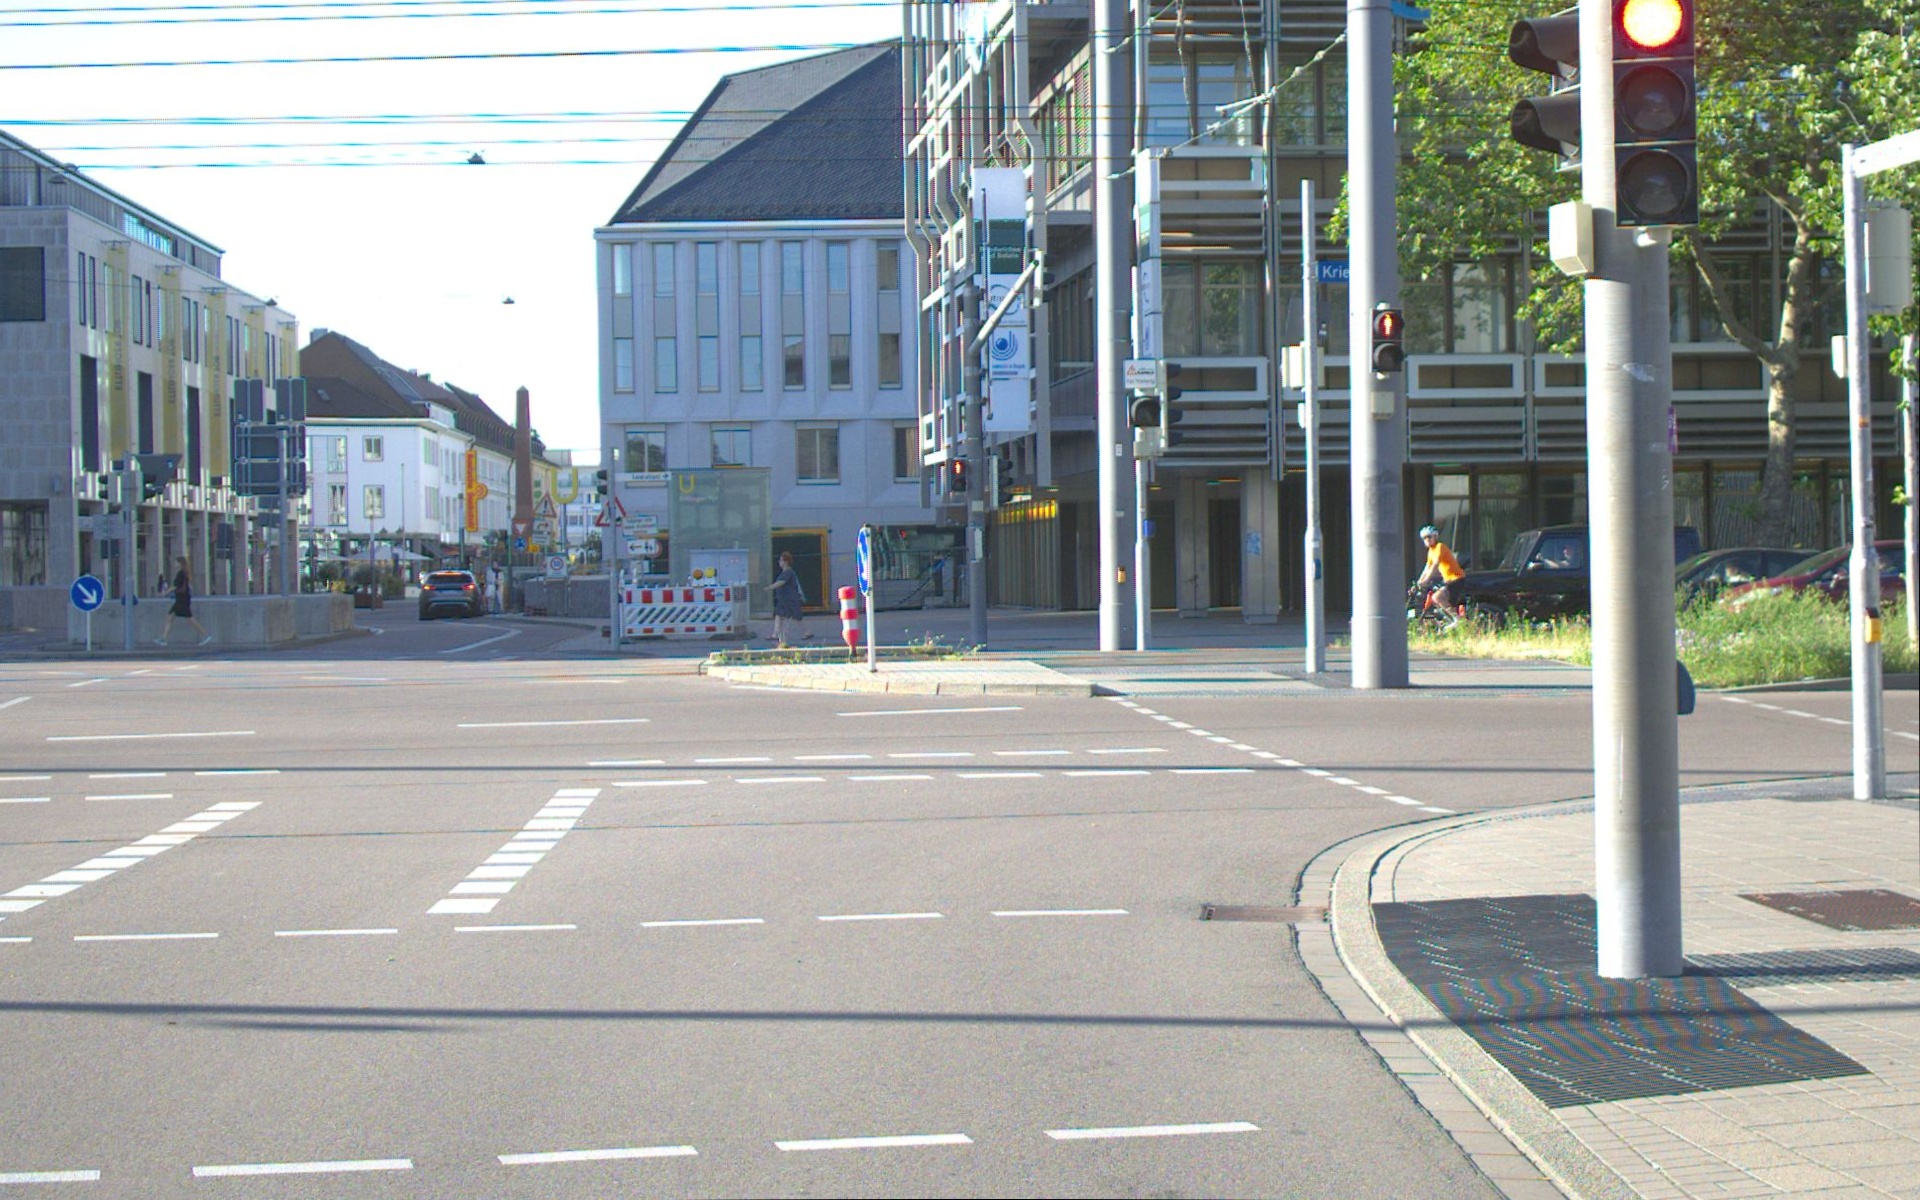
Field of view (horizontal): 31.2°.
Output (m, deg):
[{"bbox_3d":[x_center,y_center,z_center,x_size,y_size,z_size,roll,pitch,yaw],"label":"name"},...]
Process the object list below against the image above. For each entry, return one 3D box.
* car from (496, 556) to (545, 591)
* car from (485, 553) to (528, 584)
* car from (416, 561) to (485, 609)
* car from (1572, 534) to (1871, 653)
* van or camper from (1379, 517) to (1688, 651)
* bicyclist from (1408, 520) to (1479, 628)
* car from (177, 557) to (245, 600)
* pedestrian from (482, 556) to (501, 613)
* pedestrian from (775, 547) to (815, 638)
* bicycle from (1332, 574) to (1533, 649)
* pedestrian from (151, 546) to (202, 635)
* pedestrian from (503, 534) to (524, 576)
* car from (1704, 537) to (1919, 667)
[{"bbox_3d":[-18.646,-1.128,145.849,1.658,1.453,3.542,-1,1,-1],"label":"car"},{"bbox_3d":[-21.908,-1.514,166.111,1.658,1.453,3.542,-1,1,-1],"label":"car"},{"bbox_3d":[-16.011,-0.482,108.085,1.658,1.453,3.542,-1,1,-1],"label":"car"},{"bbox_3d":[11.196,-0.113,50.701,3.986,1.678,1.761,-1,1,-1],"label":"car"},{"bbox_3d":[8.962,-0.260,53.927,4.414,2.007,1.995,-1,1,-5],"label":"van or camper"},{"bbox_3d":[6.624,-0.358,47.132,0.822,1.469,0.652,-1,1,-4],"label":"bicyclist"},{"bbox_3d":[-26.601,-0.765,122.230,1.658,1.453,3.542,-1,1,-1],"label":"car"},{"bbox_3d":[-13.588,-0.452,99.725,0.489,1.658,0.532,1,0,-14],"label":"pedestrian"},{"bbox_3d":[-3.091,-0.148,64.528,0.700,1.682,0.619,-1,1,0],"label":"pedestrian"},{"bbox_3d":[6.467,0.150,47.122,2.568,0.972,1.047,-1,1,-3],"label":"bicycle"},{"bbox_3d":[-14.586,-0.179,64.010,0.776,1.632,0.626,-1,1,2],"label":"pedestrian"},{"bbox_3d":[-21.387,-2.159,164.691,0.910,1.958,0.823,1,0,-1],"label":"pedestrian"},{"bbox_3d":[12.437,-0.003,46.430,4.287,1.678,1.826,-1,1,-11],"label":"car"}]
